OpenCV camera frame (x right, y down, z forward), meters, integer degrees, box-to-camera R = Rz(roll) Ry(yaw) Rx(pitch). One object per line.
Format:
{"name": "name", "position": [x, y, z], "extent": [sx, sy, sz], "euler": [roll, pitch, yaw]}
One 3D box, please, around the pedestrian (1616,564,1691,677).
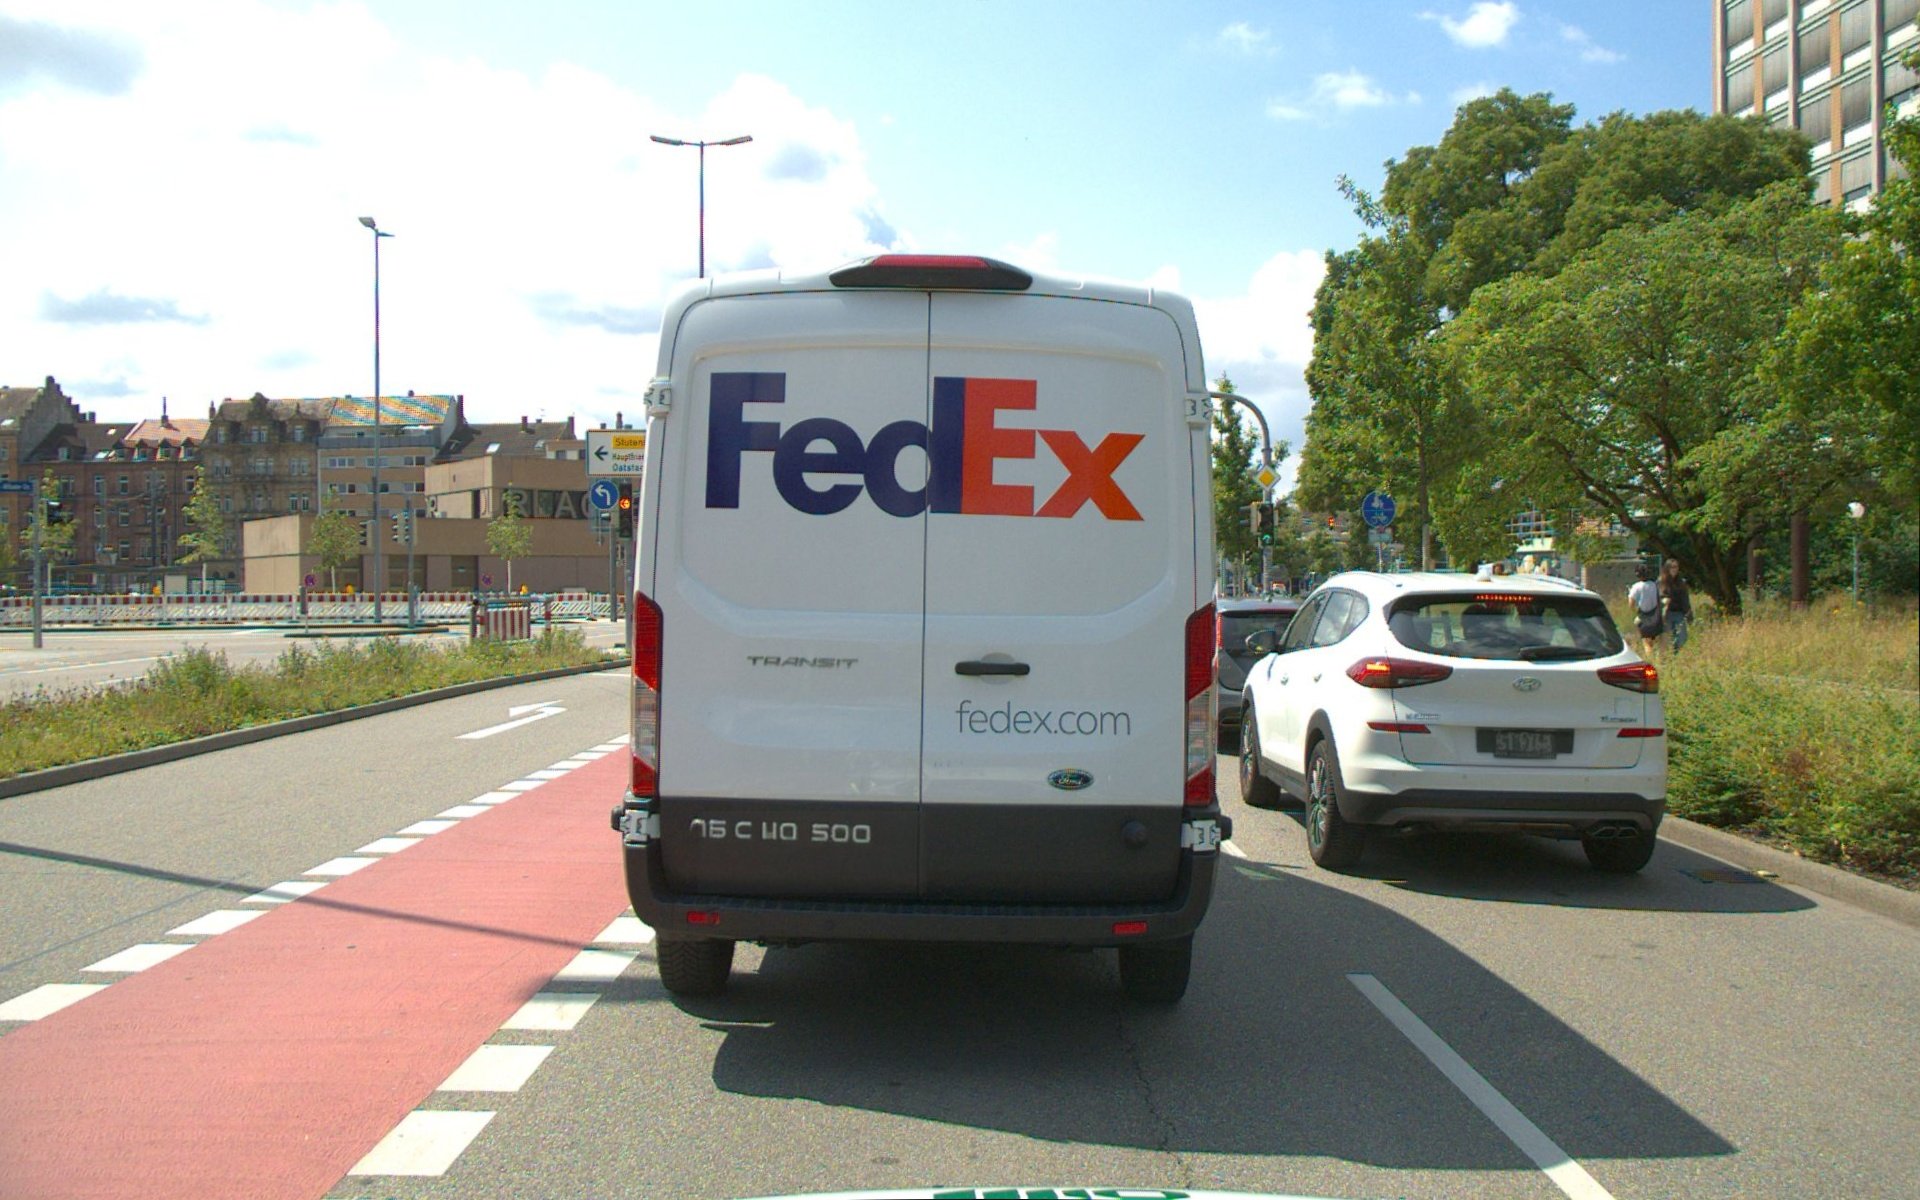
{"name": "pedestrian", "position": [9.913, 0.287, 23.666], "extent": [0.743, 1.584, 0.816], "euler": [0, 0, 1]}

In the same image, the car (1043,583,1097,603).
{"name": "car", "position": [9.490, -0.584, 143.027], "extent": [4.390, 1.677, 1.888], "euler": [1, 0, 40]}

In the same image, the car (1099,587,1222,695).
{"name": "car", "position": [2.962, 0.563, 24.982], "extent": [1.468, 1.489, 3.474], "euler": [0, 1, 1]}

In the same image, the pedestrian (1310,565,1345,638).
{"name": "pedestrian", "position": [9.660, 0.036, 43.545], "extent": [0.743, 1.882, 0.816], "euler": [0, 0, 1]}

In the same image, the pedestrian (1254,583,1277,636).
{"name": "pedestrian", "position": [10.931, 0.348, 59.198], "extent": [0.742, 1.882, 0.817], "euler": [0, 0, 14]}

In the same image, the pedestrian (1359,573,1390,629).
{"name": "pedestrian", "position": [14.107, 0.034, 56.280], "extent": [0.745, 1.882, 0.814], "euler": [-1, 0, -11]}

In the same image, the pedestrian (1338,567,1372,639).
{"name": "pedestrian", "position": [10.496, 0.068, 43.987], "extent": [0.743, 1.882, 0.816], "euler": [0, 0, 3]}

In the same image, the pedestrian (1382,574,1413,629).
{"name": "pedestrian", "position": [14.973, 0.047, 56.603], "extent": [0.745, 1.882, 0.814], "euler": [0, 0, -9]}

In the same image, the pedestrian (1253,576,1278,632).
{"name": "pedestrian", "position": [10.492, 0.131, 56.835], "extent": [0.743, 1.882, 0.816], "euler": [0, 0, 18]}

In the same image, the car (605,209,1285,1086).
{"name": "car", "position": [-0.016, 0.118, 7.189], "extent": [2.030, 2.626, 4.428], "euler": [0, 1, 1]}

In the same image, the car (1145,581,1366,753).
{"name": "car", "position": [2.940, 0.598, 17.146], "extent": [1.656, 1.576, 3.721], "euler": [0, 1, 1]}

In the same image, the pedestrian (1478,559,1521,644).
{"name": "pedestrian", "position": [11.796, 0.026, 36.160], "extent": [0.742, 1.820, 0.817], "euler": [0, 0, 7]}

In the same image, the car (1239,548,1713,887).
{"name": "car", "position": [2.950, 0.573, 10.370], "extent": [1.777, 1.708, 3.974], "euler": [0, 1, 1]}

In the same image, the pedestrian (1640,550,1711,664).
{"name": "pedestrian", "position": [10.821, 0.101, 25.034], "extent": [0.743, 1.684, 0.816], "euler": [0, 0, 3]}

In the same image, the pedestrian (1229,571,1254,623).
{"name": "pedestrian", "position": [10.209, -0.119, 60.001], "extent": [0.796, 1.882, 0.761], "euler": [0, 0, 2]}
